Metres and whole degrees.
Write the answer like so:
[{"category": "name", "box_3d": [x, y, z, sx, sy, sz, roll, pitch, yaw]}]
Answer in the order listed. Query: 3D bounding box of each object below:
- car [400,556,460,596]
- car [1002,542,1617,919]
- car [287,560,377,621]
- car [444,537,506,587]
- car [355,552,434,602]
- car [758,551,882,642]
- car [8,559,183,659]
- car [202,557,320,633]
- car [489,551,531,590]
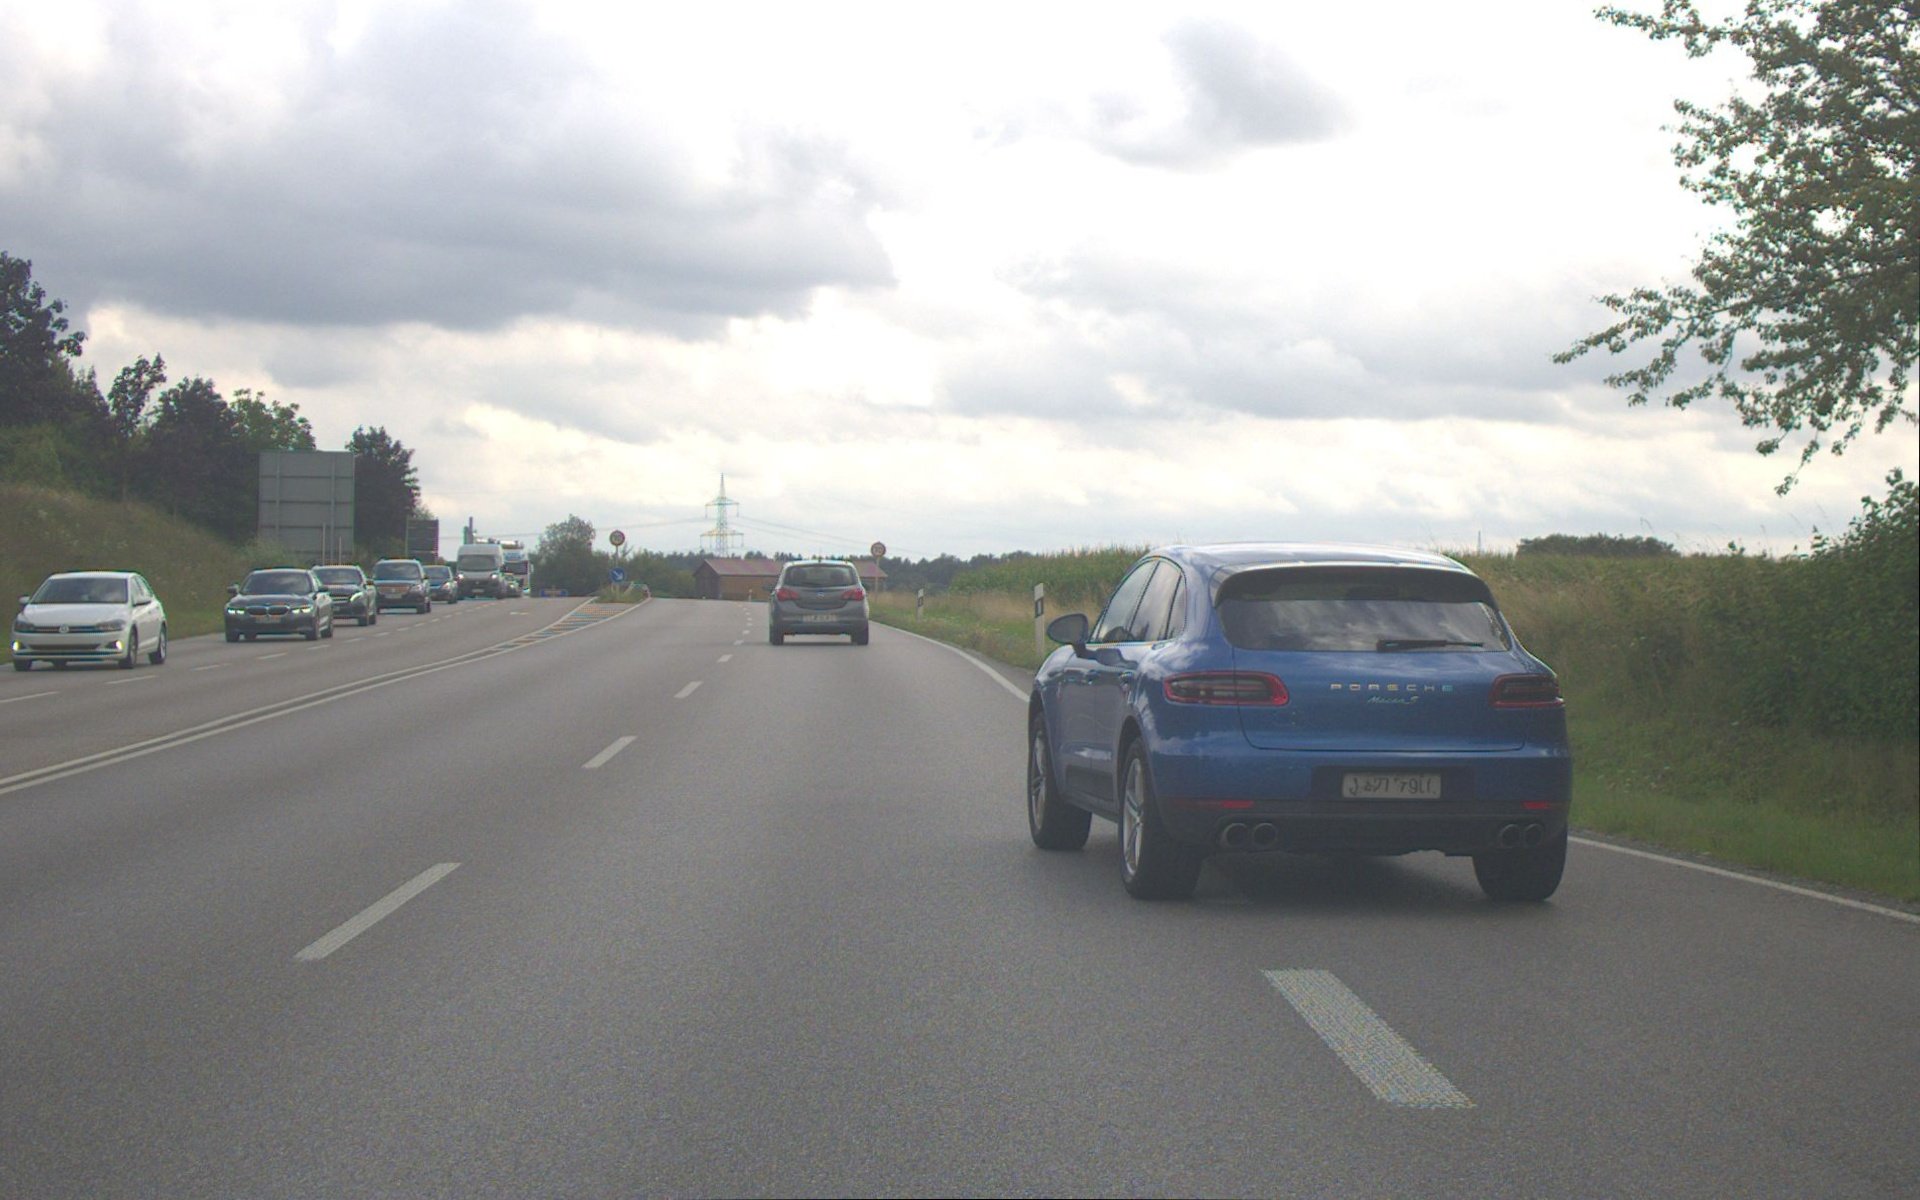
[{"category": "car", "box_3d": [-20.146, -0.935, 130.809, 1.993, 1.486, 4.001, 0, 1, -5]}, {"category": "car", "box_3d": [1.501, 0.517, 16.738, 1.993, 1.565, 4.757, 0, 1, -7]}, {"category": "car", "box_3d": [-15.781, -0.260, 86.585, 1.796, 1.481, 4.169, 0, 1, -4]}, {"category": "car", "box_3d": [-21.592, -1.706, 153.305, 2.363, 2.204, 5.923, -1, 1, -4]}, {"category": "car", "box_3d": [-17.331, -0.712, 105.541, 1.993, 1.503, 4.001, 0, 1, -3]}, {"category": "car", "box_3d": [-2.512, -0.088, 60.802, 1.993, 1.530, 4.001, 1, 1, -5]}, {"category": "car", "box_3d": [-12.907, 0.103, 51.528, 1.668, 1.437, 4.147, 0, 1, -1]}, {"category": "car", "box_3d": [-14.158, -0.126, 69.839, 1.993, 1.503, 4.001, 0, 1, -6]}, {"category": "car", "box_3d": [-25.980, -1.722, 198.344, 2.363, 2.204, 5.309, -1, 1, -8]}]
